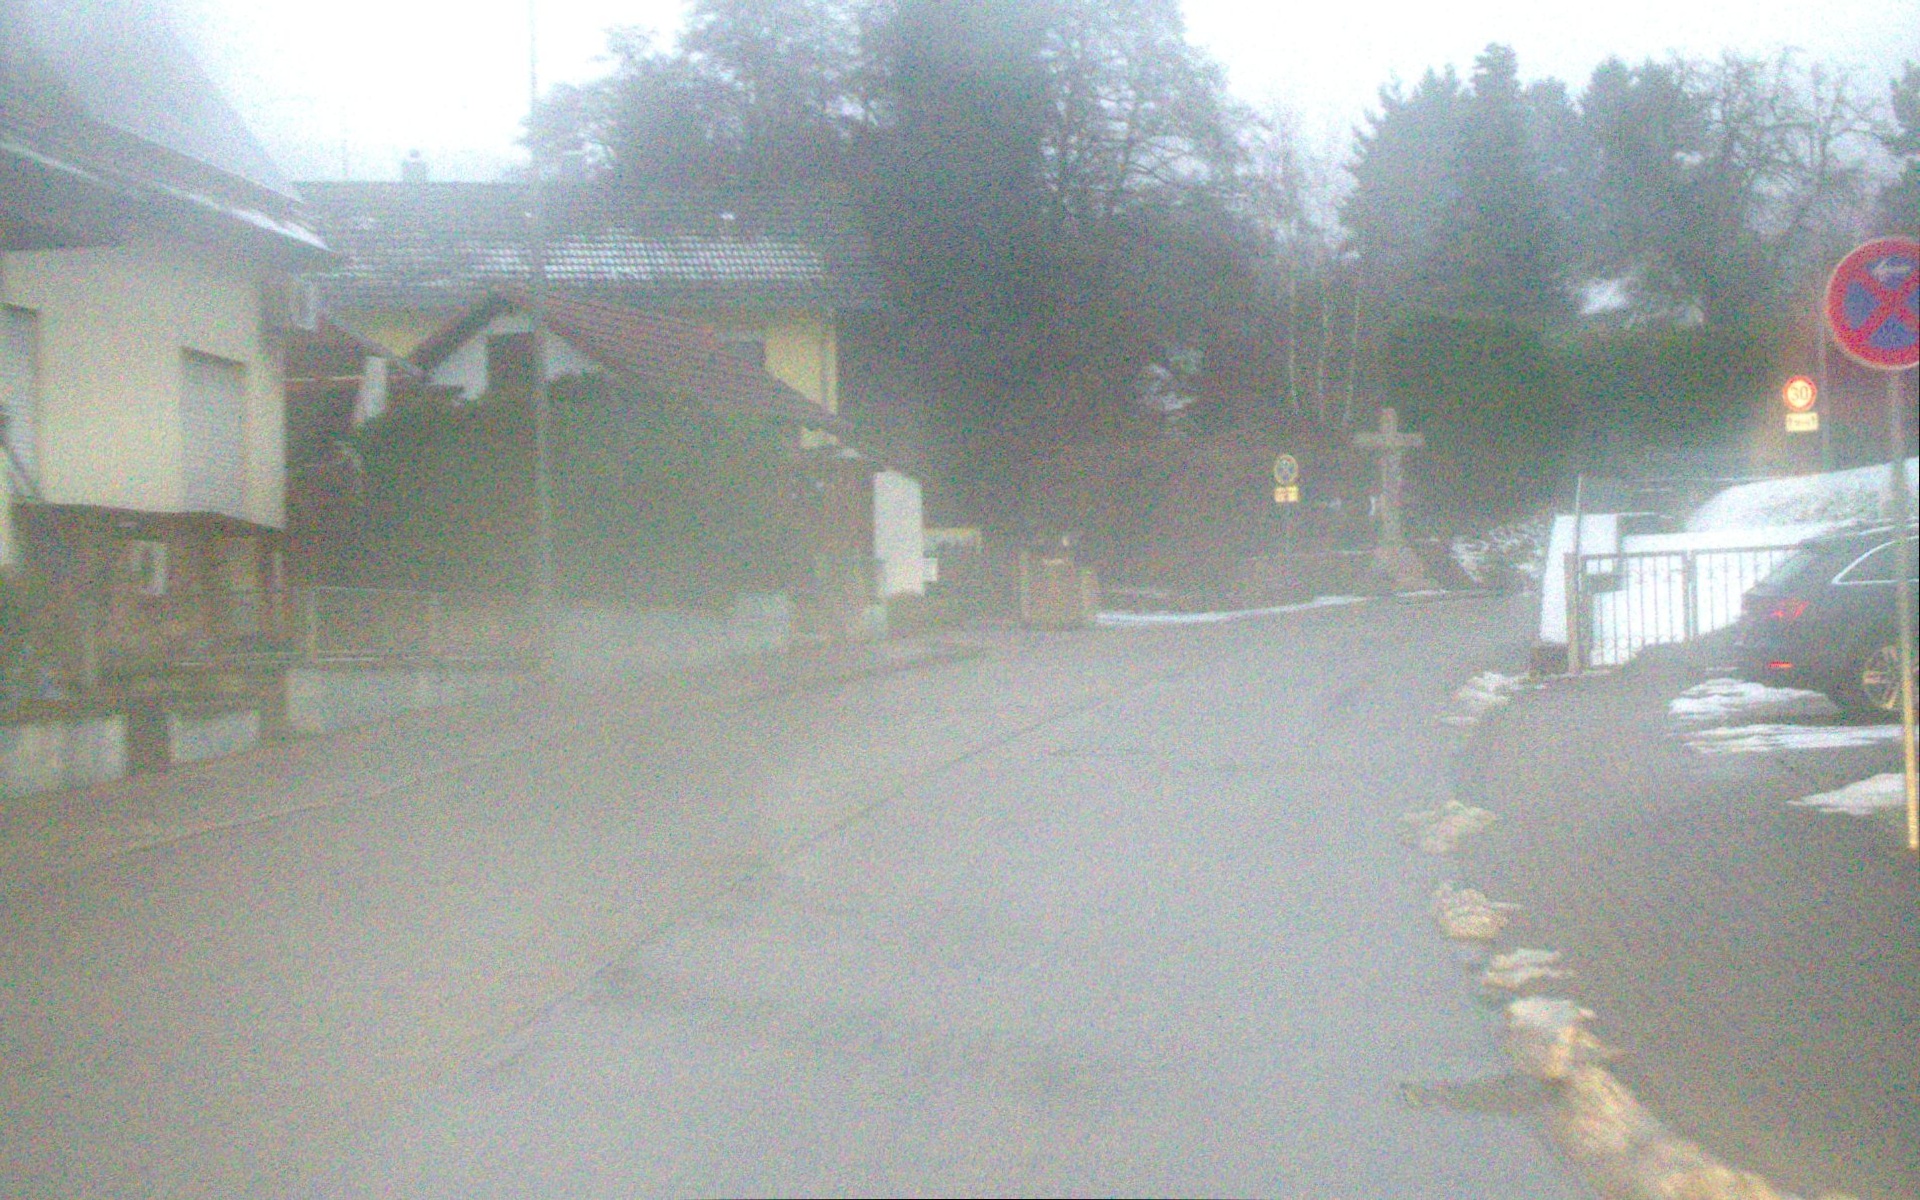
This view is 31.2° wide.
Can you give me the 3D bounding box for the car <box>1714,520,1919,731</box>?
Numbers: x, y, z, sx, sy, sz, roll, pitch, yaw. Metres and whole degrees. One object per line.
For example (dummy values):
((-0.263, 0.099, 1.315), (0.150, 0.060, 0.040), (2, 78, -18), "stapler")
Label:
((7.991, 0.089, 25.345), (4.506, 1.439, 2.000), (-3, 1, 7), "car")
